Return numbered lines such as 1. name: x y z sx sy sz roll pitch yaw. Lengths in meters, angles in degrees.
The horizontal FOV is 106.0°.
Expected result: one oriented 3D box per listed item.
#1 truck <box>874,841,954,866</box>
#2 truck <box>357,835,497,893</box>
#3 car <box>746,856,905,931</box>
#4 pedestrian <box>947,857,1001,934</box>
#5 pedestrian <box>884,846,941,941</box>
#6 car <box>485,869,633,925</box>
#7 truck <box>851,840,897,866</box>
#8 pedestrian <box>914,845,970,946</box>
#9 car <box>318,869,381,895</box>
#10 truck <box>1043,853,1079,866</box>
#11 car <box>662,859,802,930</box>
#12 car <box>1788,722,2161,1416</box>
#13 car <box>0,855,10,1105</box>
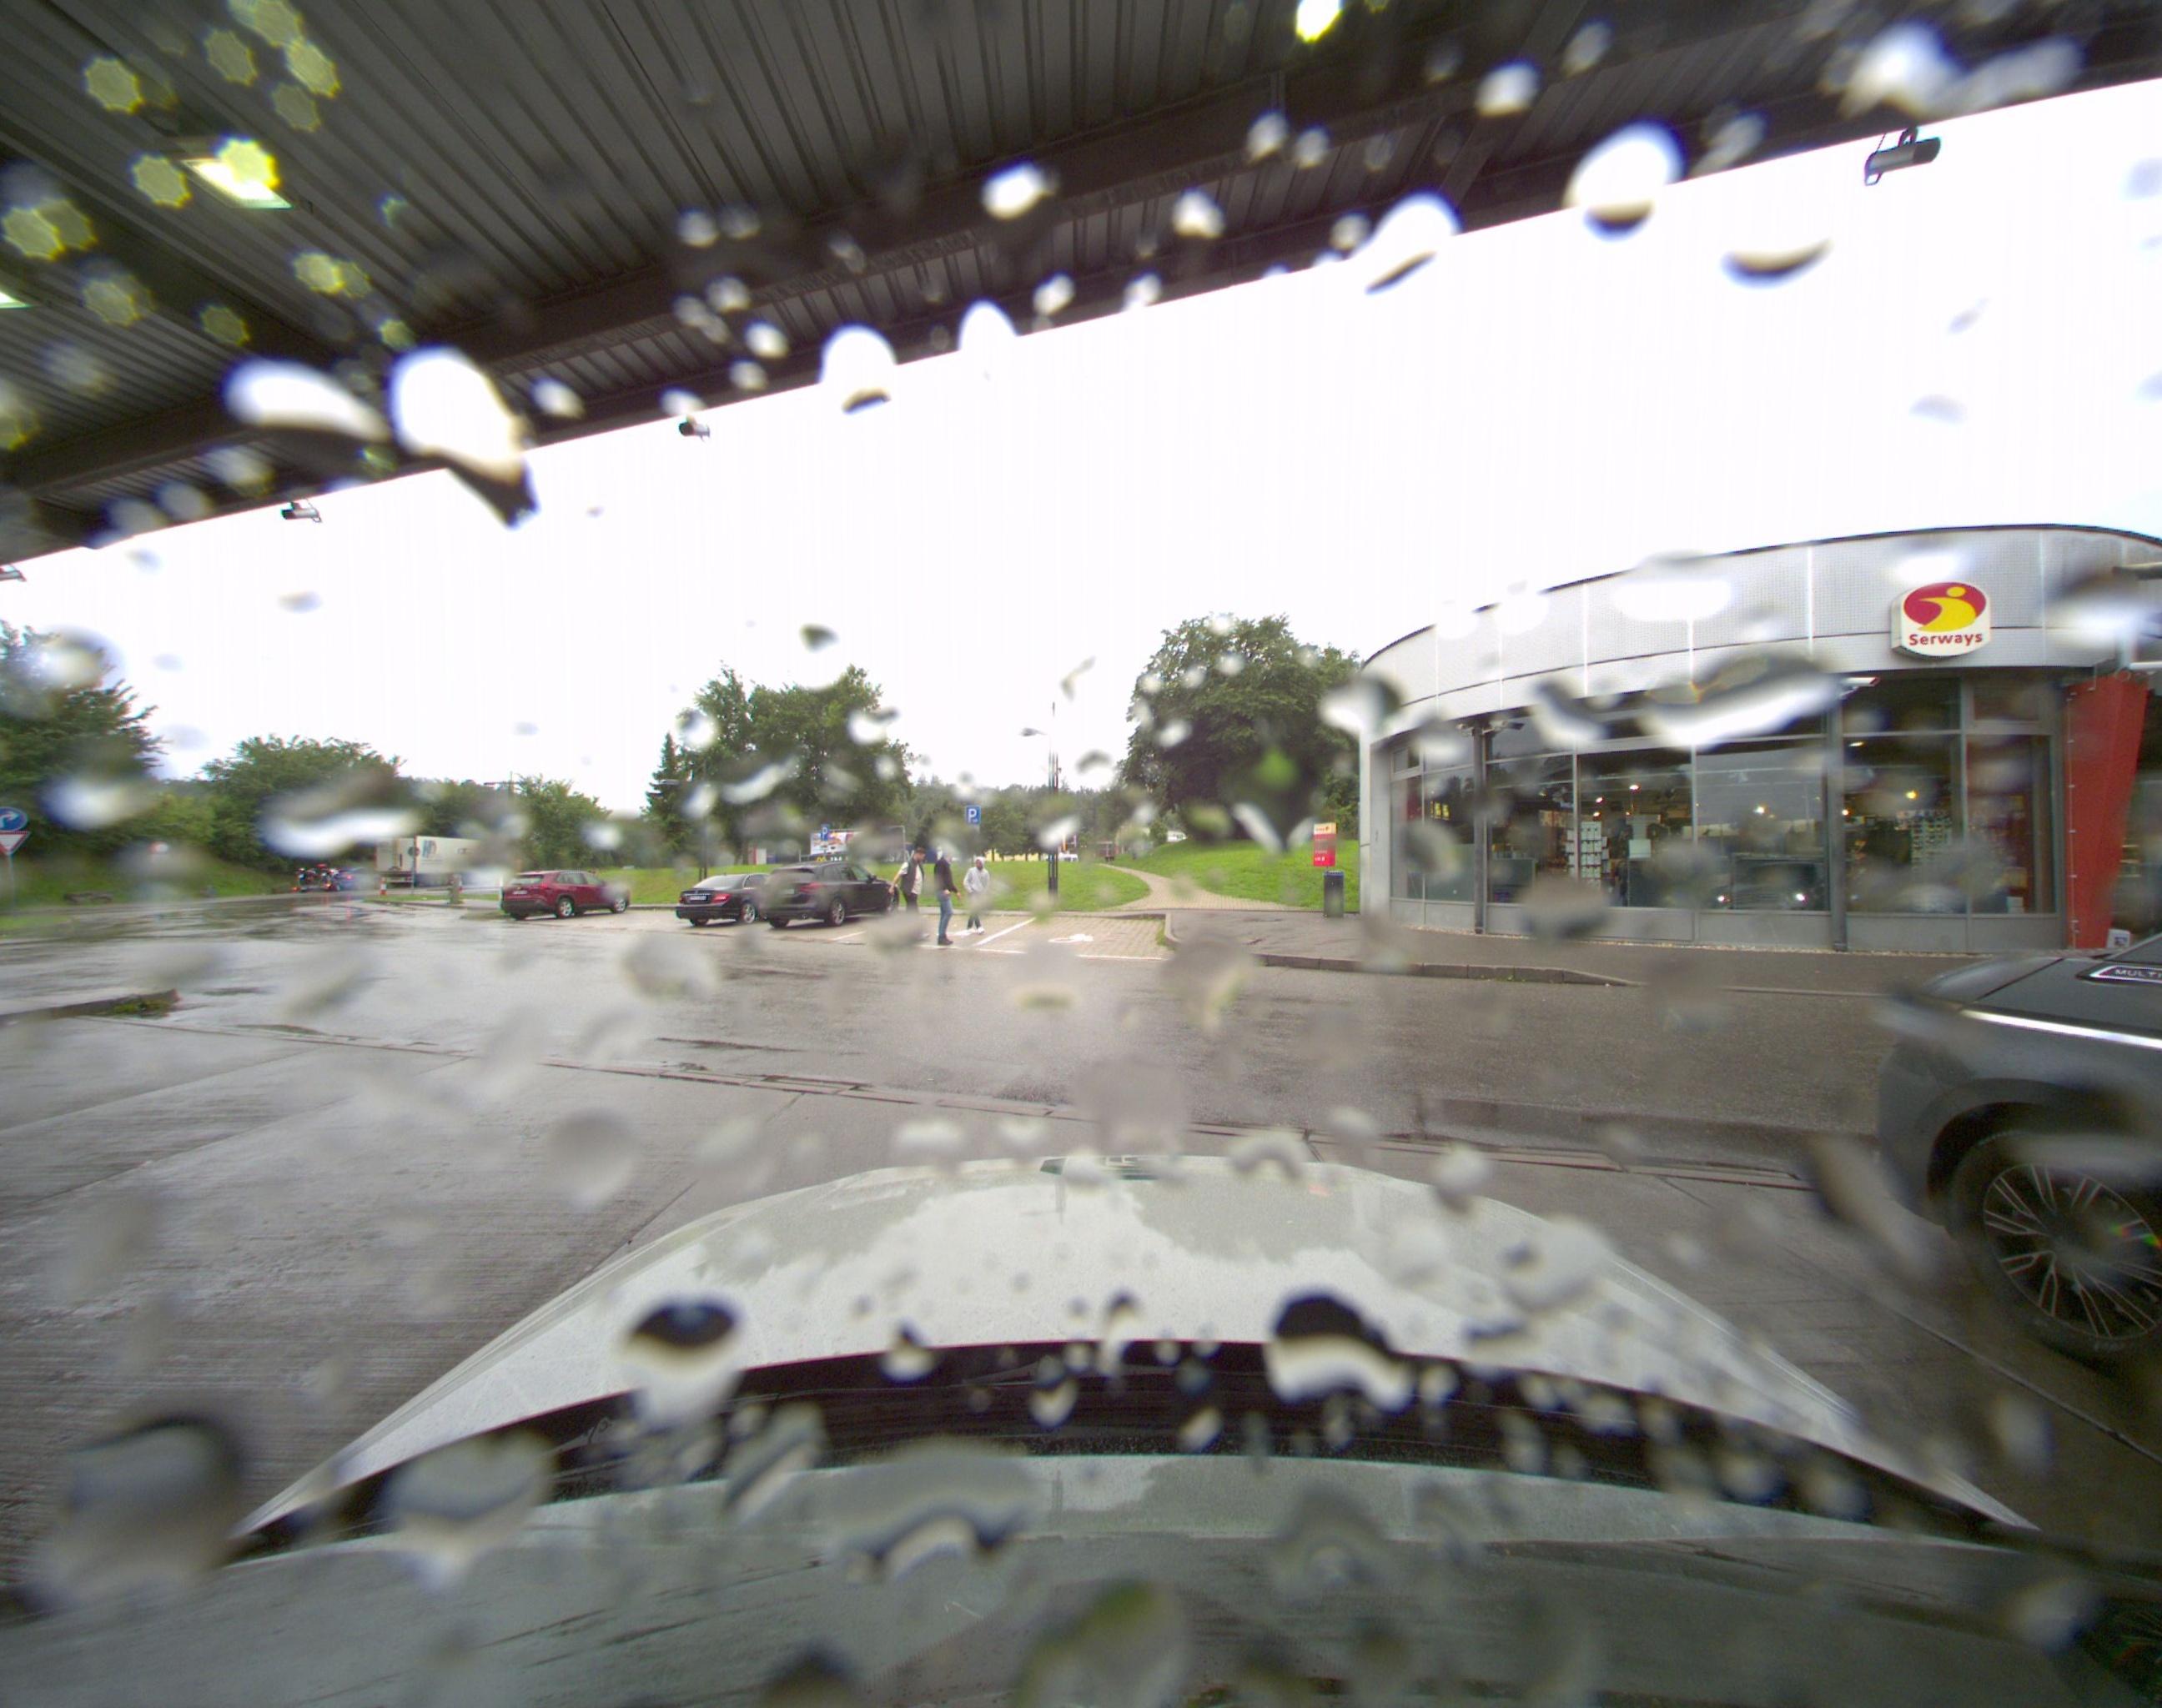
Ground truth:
1. truck: -20.753 -0.055 102.329 2.165 2.920 13.175 -1 -1 26
2. truck: -55.445 0.834 69.959 3.550 4.340 16.899 0 -1 -18
3. car: -6.649 0.968 21.763 2.002 1.711 4.360 -2 0 14
4. pedestrian: -2.300 0.878 17.586 0.944 1.631 0.707 -1 -1 15
5. pedestrian: -3.445 0.794 16.677 0.945 1.887 0.706 -1 -1 9
6. car: -18.137 1.438 28.575 1.928 1.644 4.352 -2 0 7
7. truck: -24.186 -0.088 95.438 2.165 2.920 5.419 -1 -1 27
8. pedestrian: -2.639 0.780 15.539 0.886 1.887 0.705 0 -1 5
9. car: -50.344 1.874 56.155 1.814 1.681 3.927 0 -1 -18
10. truck: -3.249 0.881 134.088 5.356 2.014 2.381 -1 -1 26
11. car: -9.835 1.079 23.407 2.010 1.711 4.344 -2 0 1
12. car: 3.675 0.540 0.661 1.854 1.798 5.142 0 -1 2
13. car: -7.967 0.799 2.659 1.854 1.608 5.273 0 -1 2
